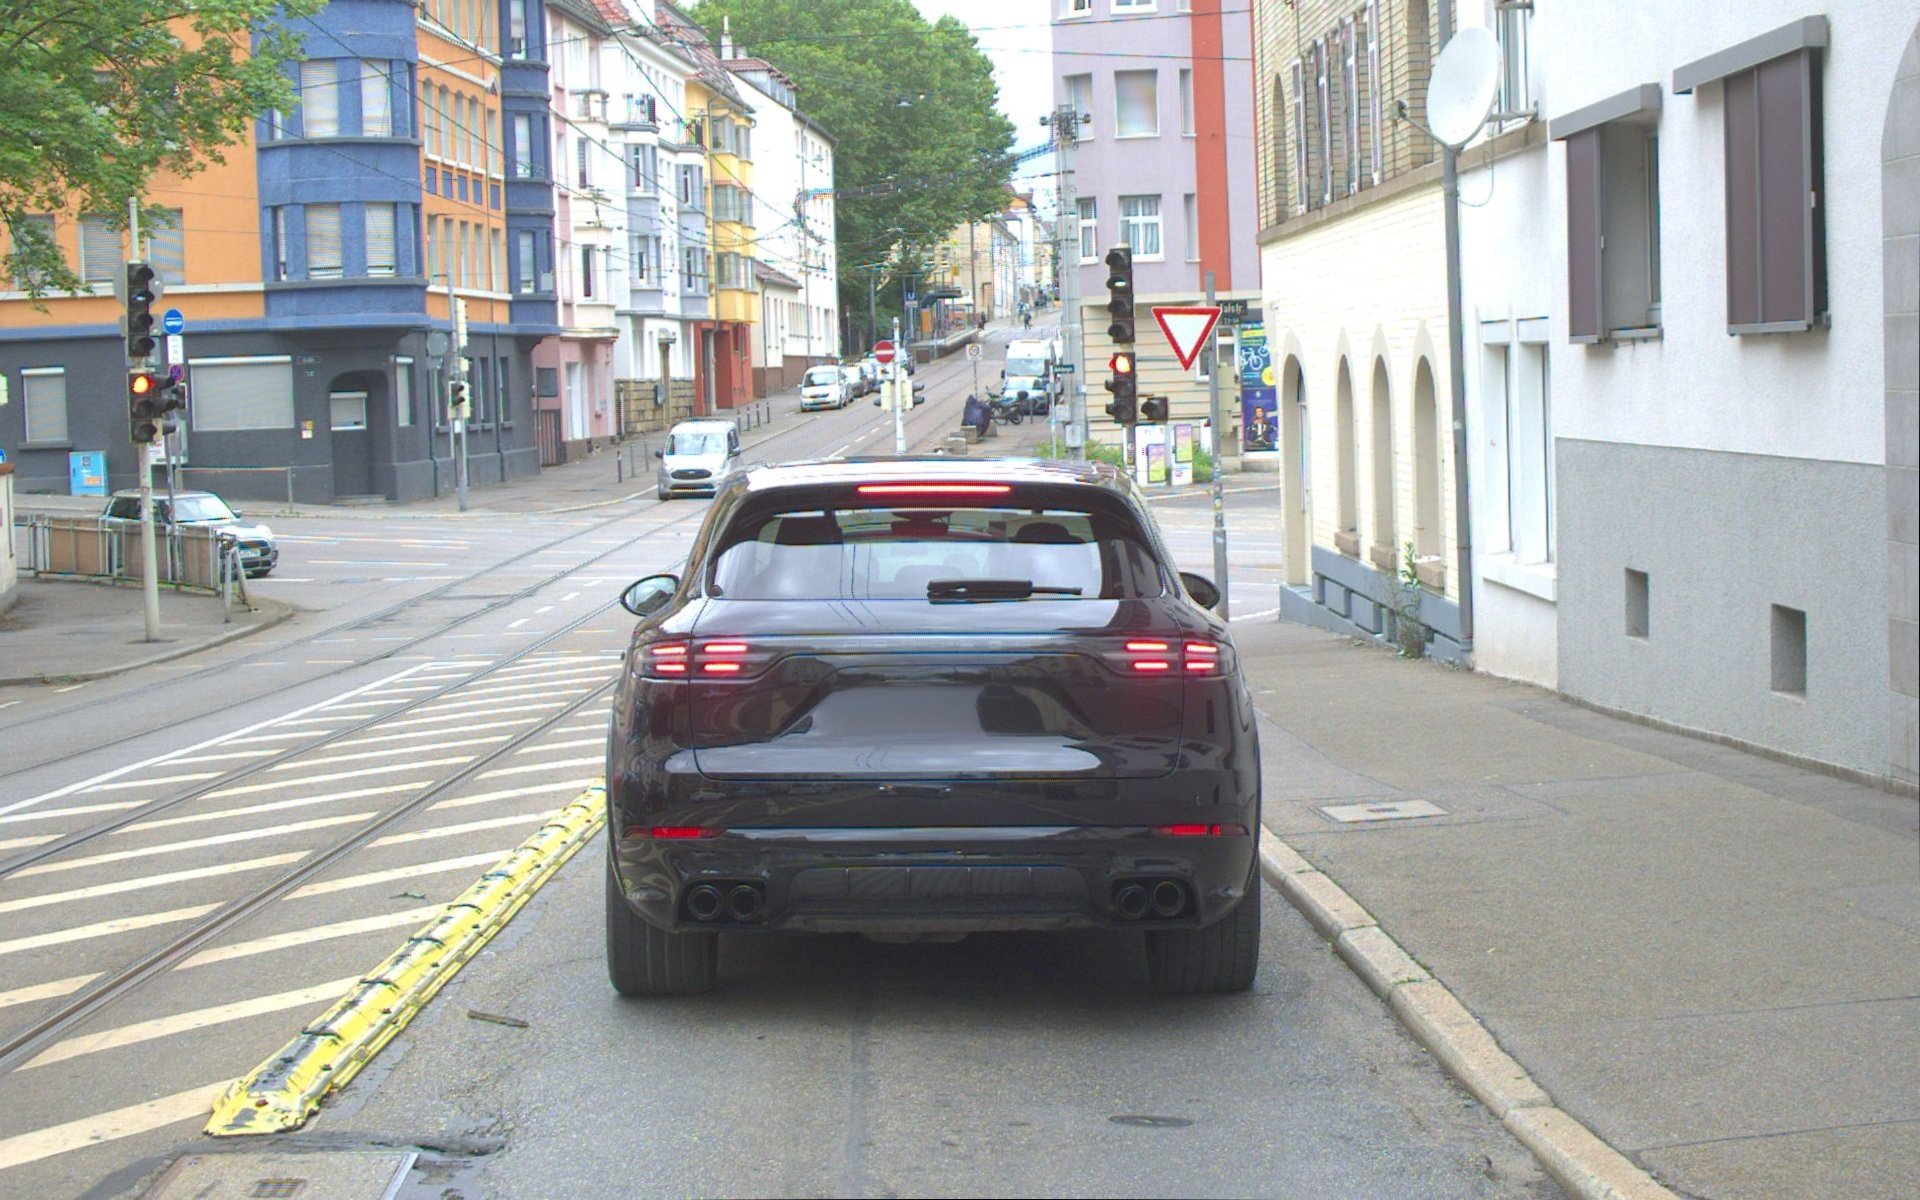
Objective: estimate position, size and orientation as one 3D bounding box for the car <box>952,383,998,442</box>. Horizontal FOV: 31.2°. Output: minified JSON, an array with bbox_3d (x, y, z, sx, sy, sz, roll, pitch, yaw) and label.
[{"bbox_3d":[0.464,-5.871,107.915,1.394,1.716,3.359,-2,2,0],"label":"car"}]

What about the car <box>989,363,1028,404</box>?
[{"bbox_3d":[1.863,-8.349,132.950,1.394,1.445,3.359,-2,2,0],"label":"car"}]

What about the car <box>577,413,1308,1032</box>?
[{"bbox_3d":[-0.084,0.284,11.577,1.993,1.670,4.001,-2,2,-1],"label":"car"}]

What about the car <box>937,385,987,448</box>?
[{"bbox_3d":[0.066,-5.371,100.973,1.394,1.716,3.359,-2,2,0],"label":"car"}]

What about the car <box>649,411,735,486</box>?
[{"bbox_3d":[-6.632,-3.748,85.502,1.751,1.753,4.254,-2,2,0],"label":"car"}]

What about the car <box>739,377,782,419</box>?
[{"bbox_3d":[-7.530,-7.636,130.246,1.394,1.445,3.359,-2,2,0],"label":"car"}]

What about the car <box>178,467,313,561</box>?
[{"bbox_3d":[-12.065,-1.445,57.936,1.633,1.503,3.541,-2,2,-21],"label":"car"}]

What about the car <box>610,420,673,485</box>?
[{"bbox_3d":[-8.763,-4.053,94.788,1.394,1.716,3.359,-2,2,0],"label":"car"}]
